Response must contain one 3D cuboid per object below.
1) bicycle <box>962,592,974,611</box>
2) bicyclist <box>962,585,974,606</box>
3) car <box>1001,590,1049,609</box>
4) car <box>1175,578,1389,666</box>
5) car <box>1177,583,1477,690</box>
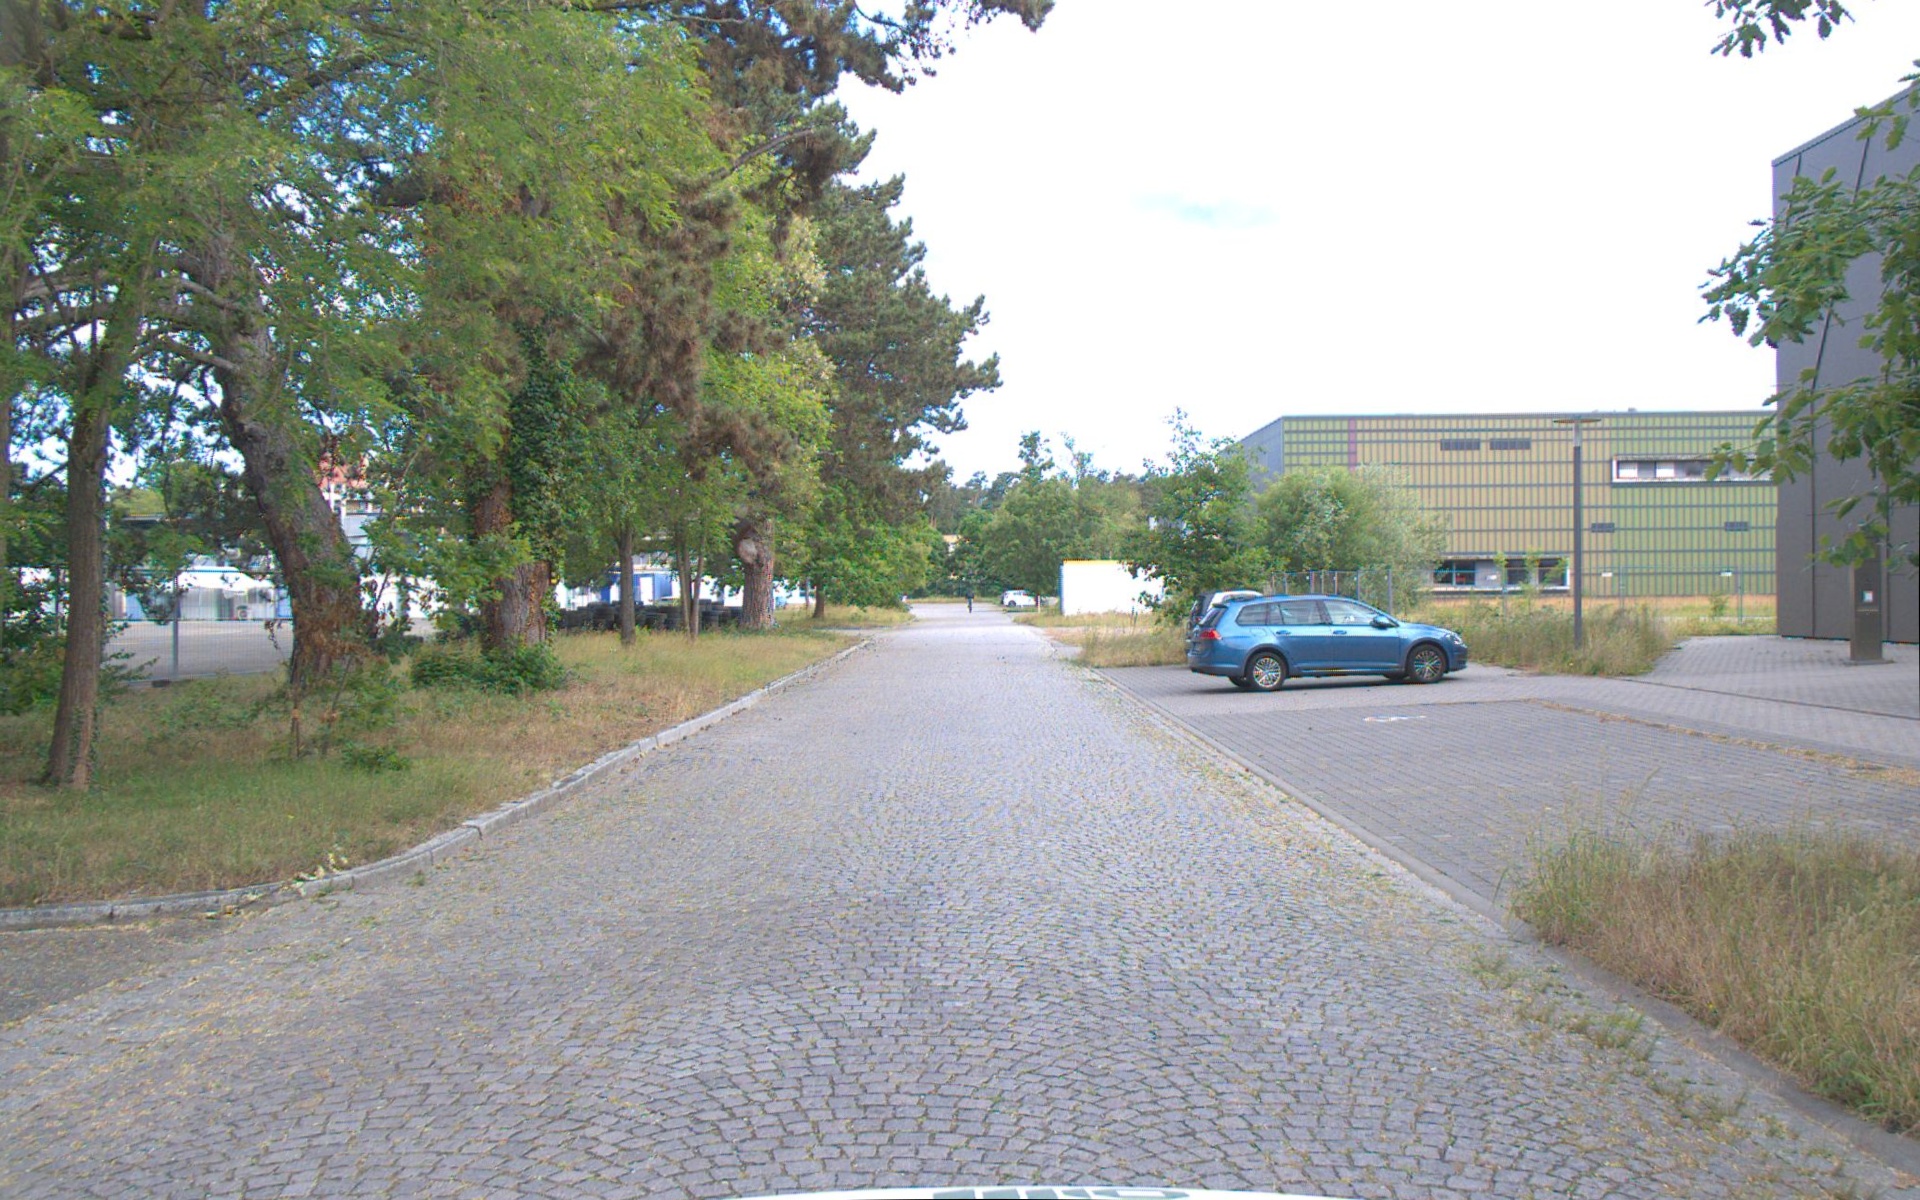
[{"bbox_3d":[0.596,0.109,123.722,0.807,1.400,2.042,0,1,-1],"label":"bicycle"},{"bbox_3d":[0.587,-0.313,123.773,0.879,1.569,0.868,0,1,-1],"label":"bicyclist"},{"bbox_3d":[5.771,-0.034,146.814,4.232,1.576,2.000,-1,0,1],"label":"car"},{"bbox_3d":[6.652,0.443,34.449,4.025,1.600,1.764,-2,0,-2],"label":"car"},{"bbox_3d":[5.907,0.568,26.994,4.391,1.488,1.934,-2,0,-2],"label":"car"}]
